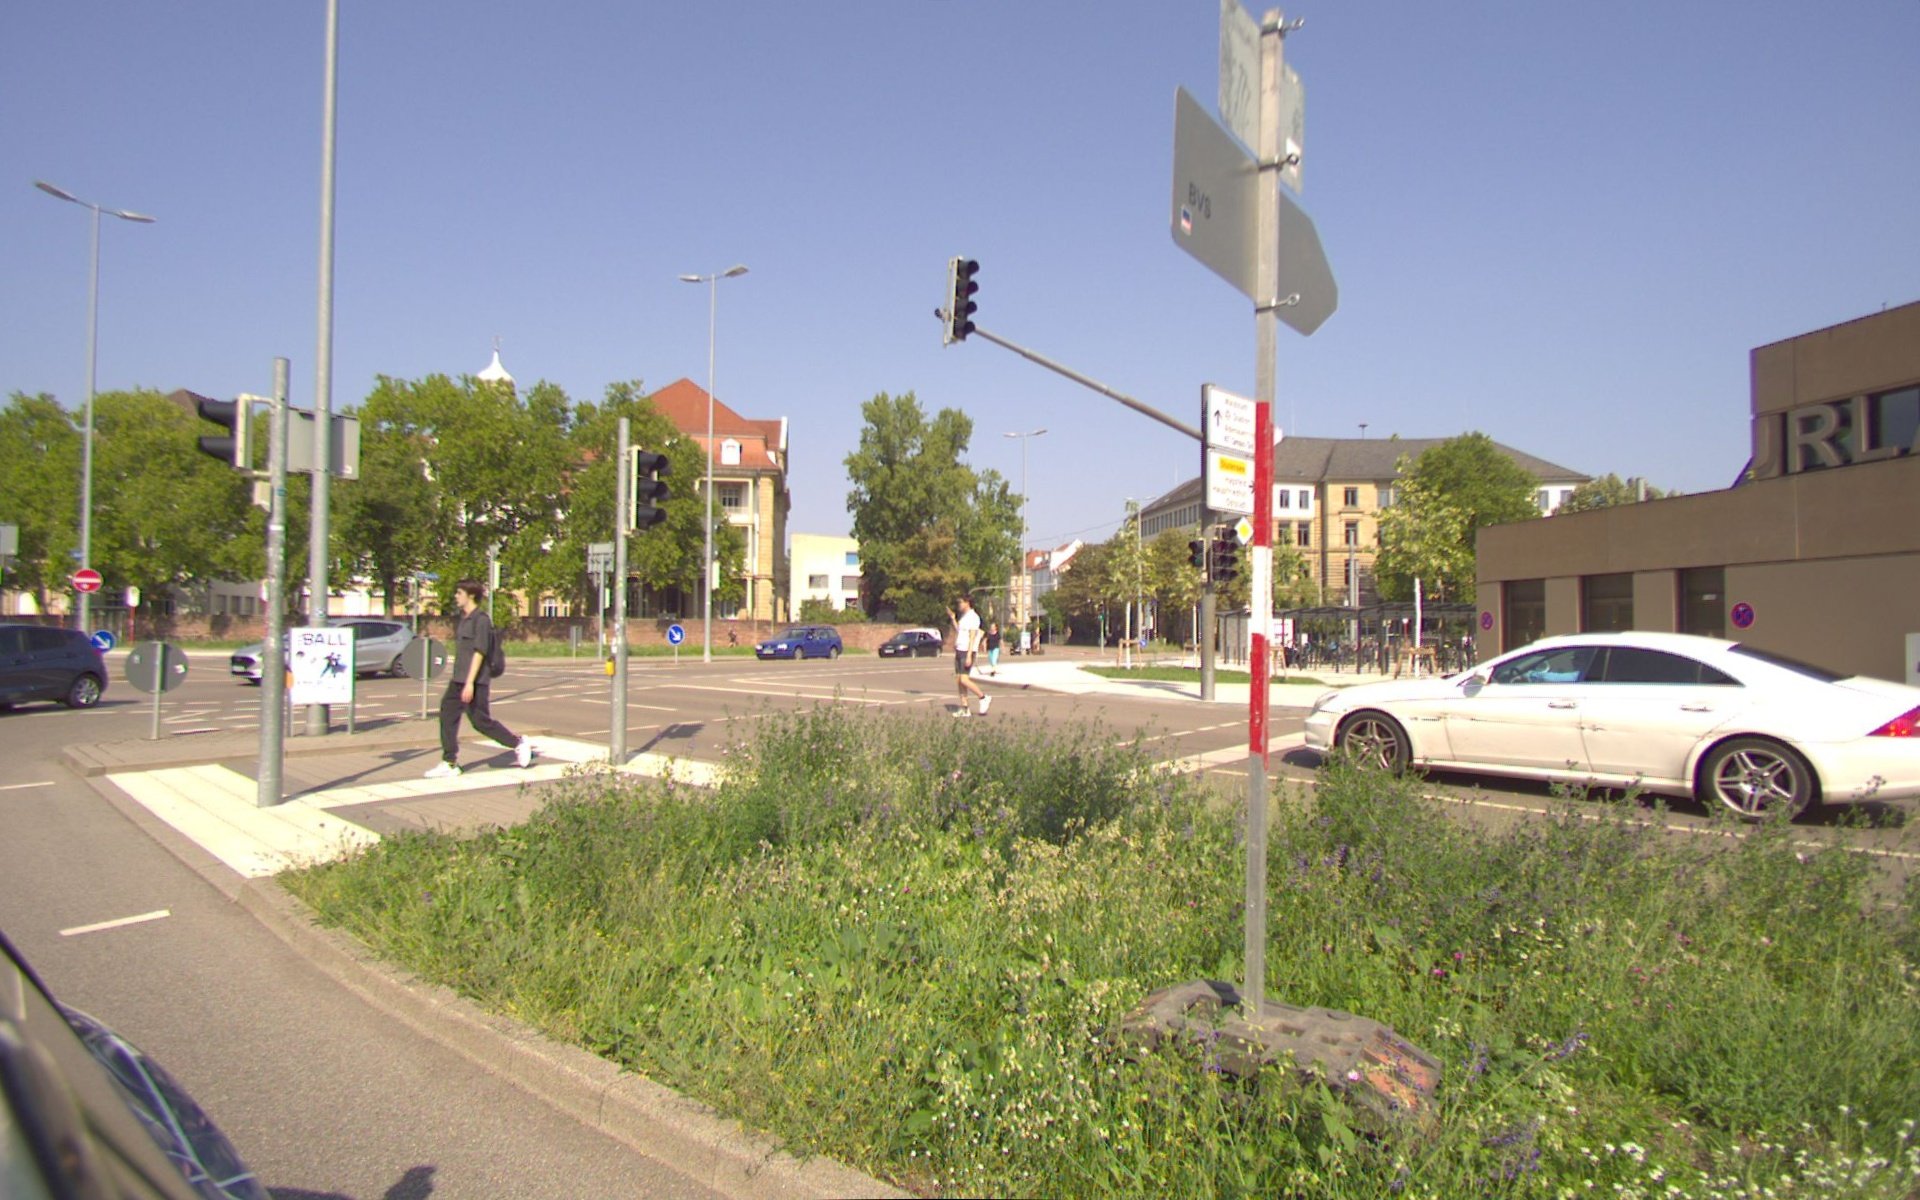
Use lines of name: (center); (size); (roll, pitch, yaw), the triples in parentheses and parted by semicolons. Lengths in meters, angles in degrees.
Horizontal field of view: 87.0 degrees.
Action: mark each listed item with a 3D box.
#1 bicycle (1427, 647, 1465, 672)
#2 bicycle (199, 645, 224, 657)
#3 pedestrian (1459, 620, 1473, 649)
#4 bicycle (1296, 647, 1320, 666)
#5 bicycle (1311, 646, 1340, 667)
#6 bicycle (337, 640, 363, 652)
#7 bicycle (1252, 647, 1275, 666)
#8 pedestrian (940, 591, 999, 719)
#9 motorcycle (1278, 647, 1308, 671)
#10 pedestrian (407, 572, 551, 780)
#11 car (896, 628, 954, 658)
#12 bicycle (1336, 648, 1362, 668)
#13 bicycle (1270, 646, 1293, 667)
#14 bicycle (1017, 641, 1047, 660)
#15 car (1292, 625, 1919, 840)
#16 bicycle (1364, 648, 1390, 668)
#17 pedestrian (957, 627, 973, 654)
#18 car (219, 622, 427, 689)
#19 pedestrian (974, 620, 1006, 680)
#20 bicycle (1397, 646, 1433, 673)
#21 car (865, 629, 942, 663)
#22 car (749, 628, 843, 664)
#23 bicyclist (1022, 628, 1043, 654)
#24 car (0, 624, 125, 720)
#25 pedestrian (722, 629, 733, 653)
bicycle: (20.702, 2.515, 43.155); (0.454, 1.017, 1.878); (1, -2, -8)
bicycle: (-53.121, 3.590, 71.820); (1.530, 0.842, 0.433); (0, -2, 5)
pedestrian: (31.036, 2.135, 62.081); (0.713, 1.762, 0.386); (-1, -3, 25)
bicycle: (17.137, 2.789, 49.879); (0.403, 0.899, 1.591); (1, -2, -8)
bicycle: (17.323, 2.674, 47.994); (0.525, 0.994, 1.716); (1, -2, -8)
bicycle: (-42.940, 3.210, 71.229); (1.529, 0.842, 0.433); (0, -2, 2)
bicycle: (14.768, 2.757, 49.277); (0.395, 0.899, 1.591); (0, -2, -8)
pedestrian: (0.147, 0.815, 15.122); (0.570, 1.847, 0.685); (-2, -3, 43)
motorcycle: (14.363, 2.534, 43.704); (0.534, 1.017, 1.748); (1, -2, -8)
pedestrian: (-4.577, 0.686, 9.649); (1.067, 1.854, 0.730); (1, -2, -44)
car: (-2.099, 2.641, 61.916); (1.750, 1.691, 3.959); (-4, -4, 30)
bicycle: (18.419, 2.748, 47.962); (0.403, 0.899, 1.591); (1, -2, -8)
bicycle: (15.838, 2.768, 49.820); (0.415, 0.975, 1.591); (1, -2, -8)
bicycle: (5.026, 3.512, 70.456); (0.883, 1.214, 3.047); (-4, -4, 29)
car: (5.607, 0.944, 8.894); (4.820, 1.372, 1.821); (-1, -1, 44)
bicycle: (19.617, 2.732, 47.620); (0.403, 0.899, 1.591); (1, -2, -8)
pedestrian: (0.382, 3.126, 78.490); (0.821, 2.029, 0.895); (-5, -5, 40)
car: (-14.917, 1.245, 23.920); (1.714, 1.444, 3.822); (-1, -2, 29)
pedestrian: (0.825, 1.353, 27.520); (0.745, 1.577, 0.665); (1, -2, 9)
bicycle: (17.494, 2.276, 38.922); (0.395, 1.017, 1.748); (1, -2, -8)
car: (-2.652, 2.188, 48.451); (1.990, 1.564, 3.964); (-1, -2, 26)
car: (-6.436, 1.815, 40.198); (1.598, 1.339, 4.296); (-1, -2, 25)
bicyclist: (5.052, 2.865, 70.563); (0.884, 1.759, 1.355); (-4, -4, 30)
car: (-15.555, 1.116, 15.635); (1.619, 1.438, 4.318); (0, -1, 2)
pedestrian: (-16.656, 2.919, 72.511); (0.707, 1.696, 0.595); (0, -2, -5)
